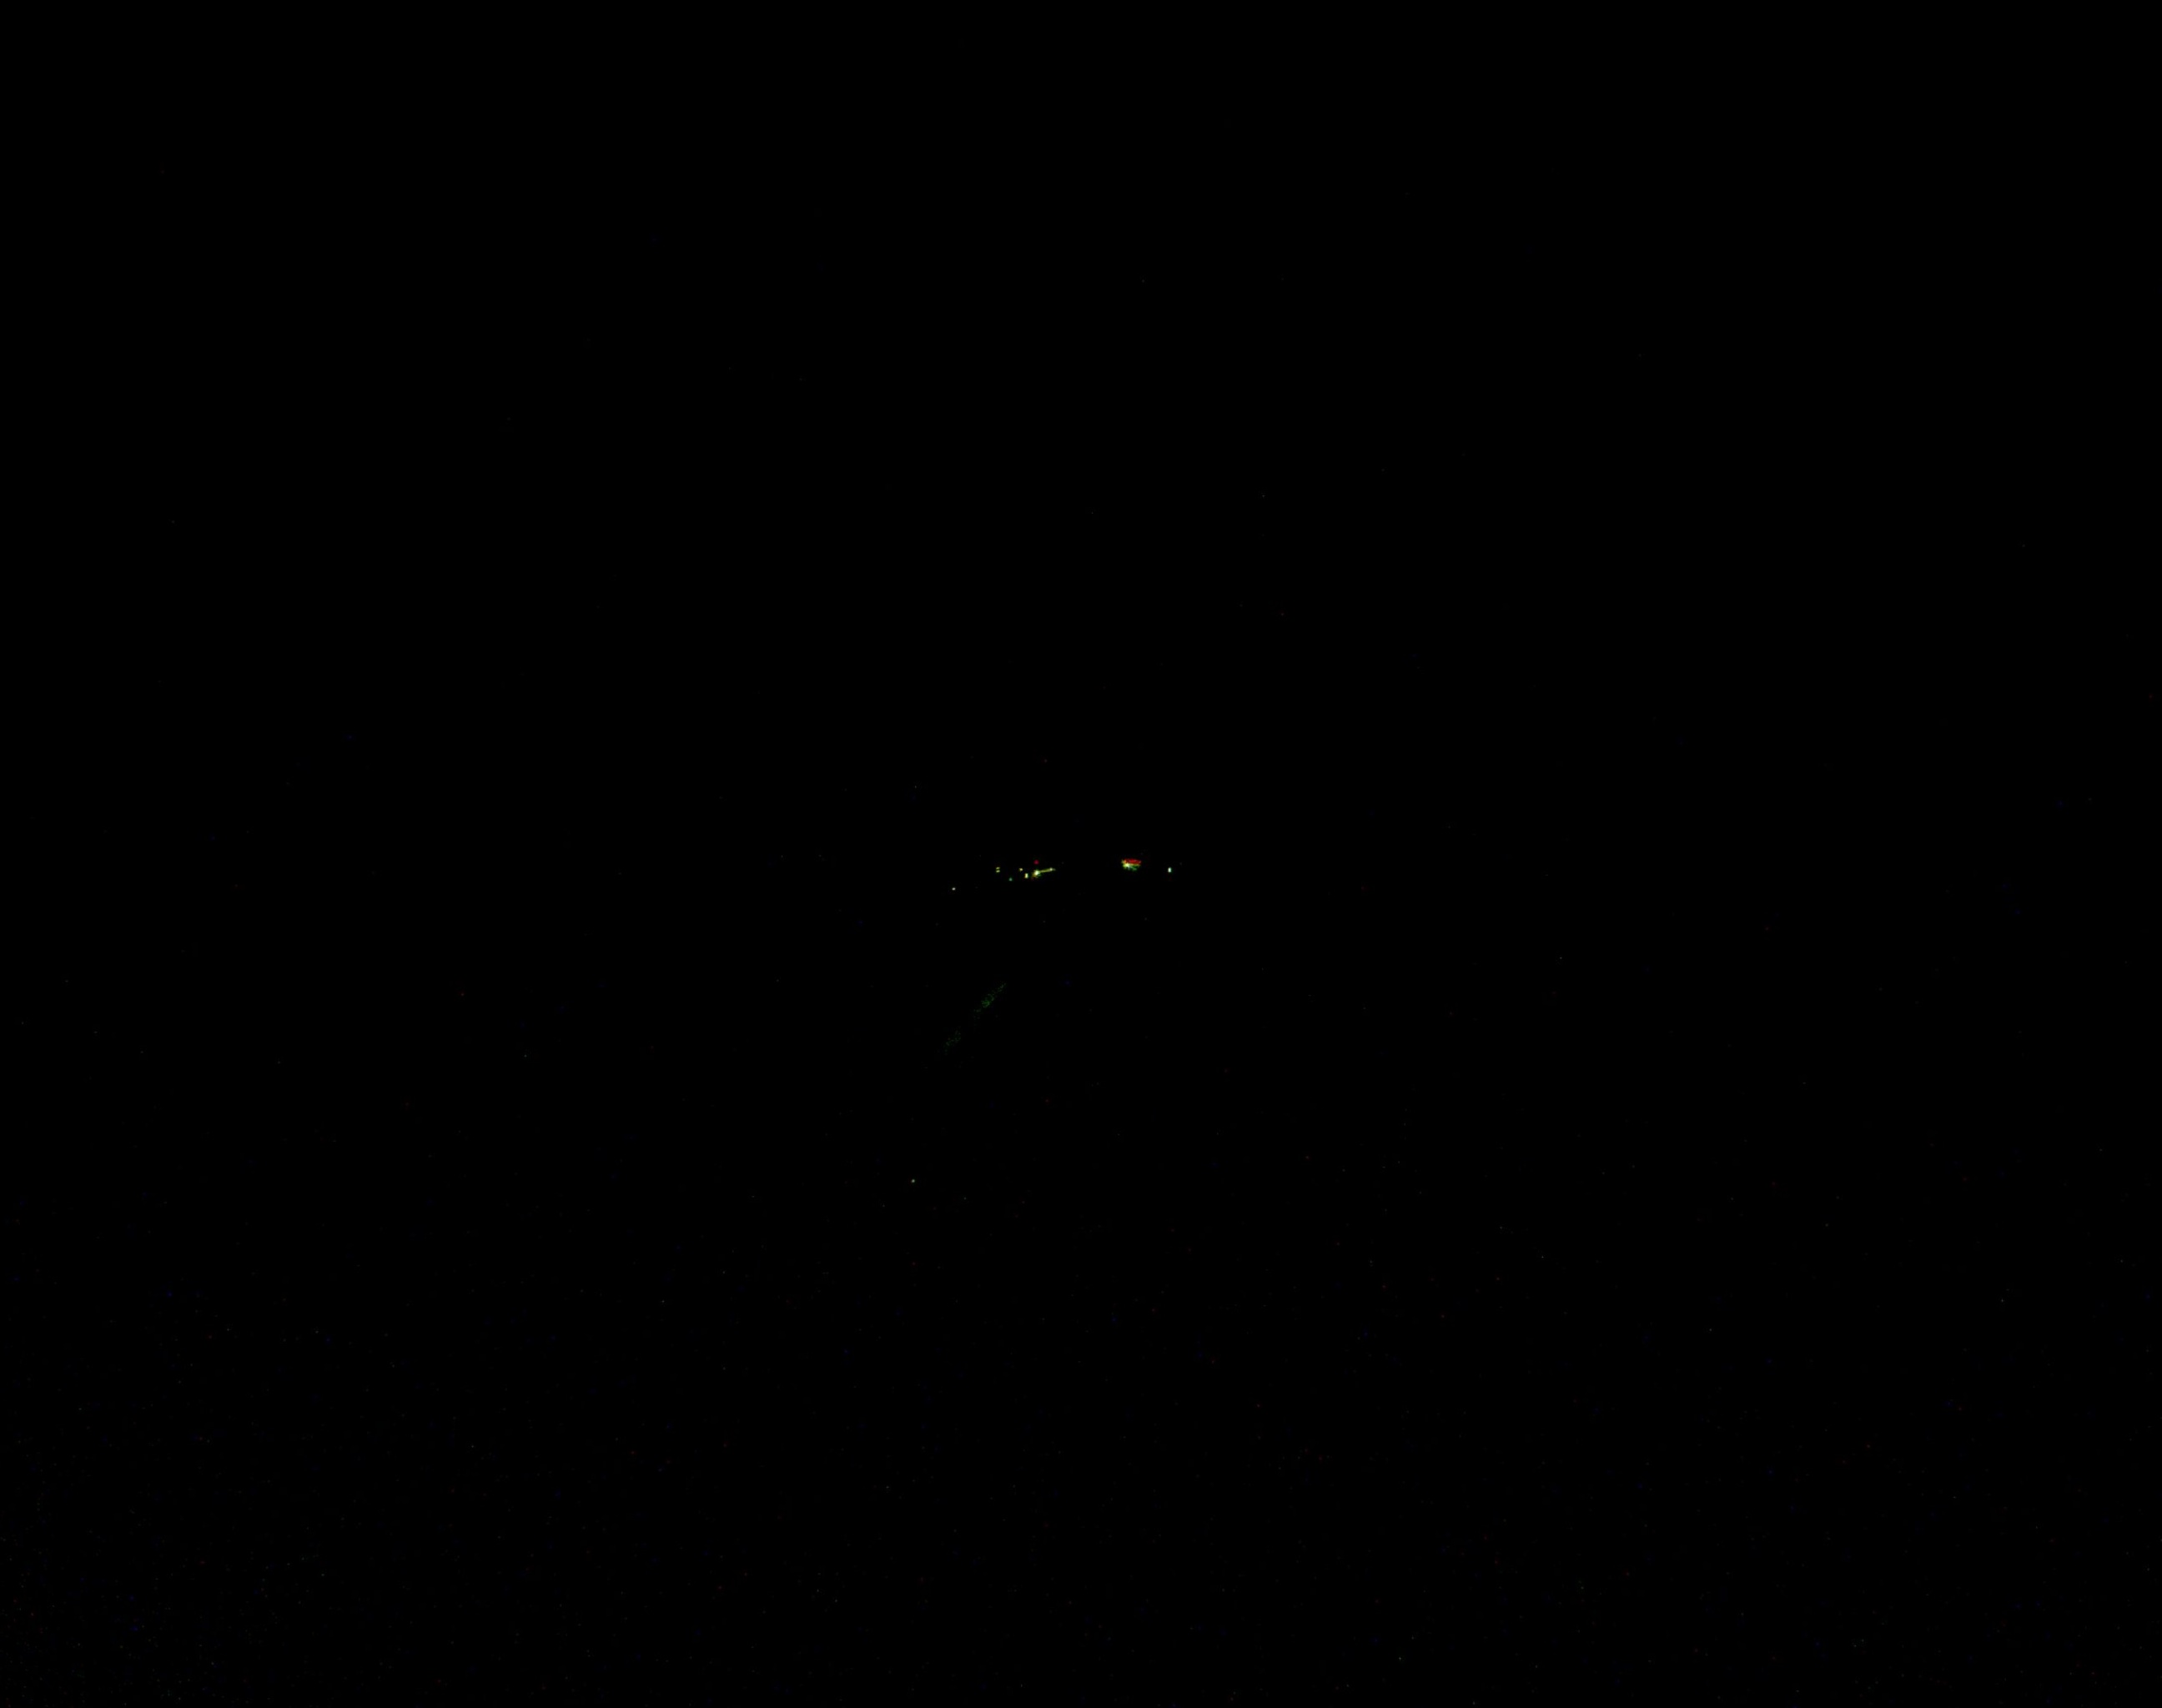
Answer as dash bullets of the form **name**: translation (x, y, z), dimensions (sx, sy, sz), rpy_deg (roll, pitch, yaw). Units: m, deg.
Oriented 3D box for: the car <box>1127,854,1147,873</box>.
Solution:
- **car**: translation (6.345, 1.068, 92.929), dimensions (2.188, 2.014, 4.210), rpy_deg (0, -3, 3)
